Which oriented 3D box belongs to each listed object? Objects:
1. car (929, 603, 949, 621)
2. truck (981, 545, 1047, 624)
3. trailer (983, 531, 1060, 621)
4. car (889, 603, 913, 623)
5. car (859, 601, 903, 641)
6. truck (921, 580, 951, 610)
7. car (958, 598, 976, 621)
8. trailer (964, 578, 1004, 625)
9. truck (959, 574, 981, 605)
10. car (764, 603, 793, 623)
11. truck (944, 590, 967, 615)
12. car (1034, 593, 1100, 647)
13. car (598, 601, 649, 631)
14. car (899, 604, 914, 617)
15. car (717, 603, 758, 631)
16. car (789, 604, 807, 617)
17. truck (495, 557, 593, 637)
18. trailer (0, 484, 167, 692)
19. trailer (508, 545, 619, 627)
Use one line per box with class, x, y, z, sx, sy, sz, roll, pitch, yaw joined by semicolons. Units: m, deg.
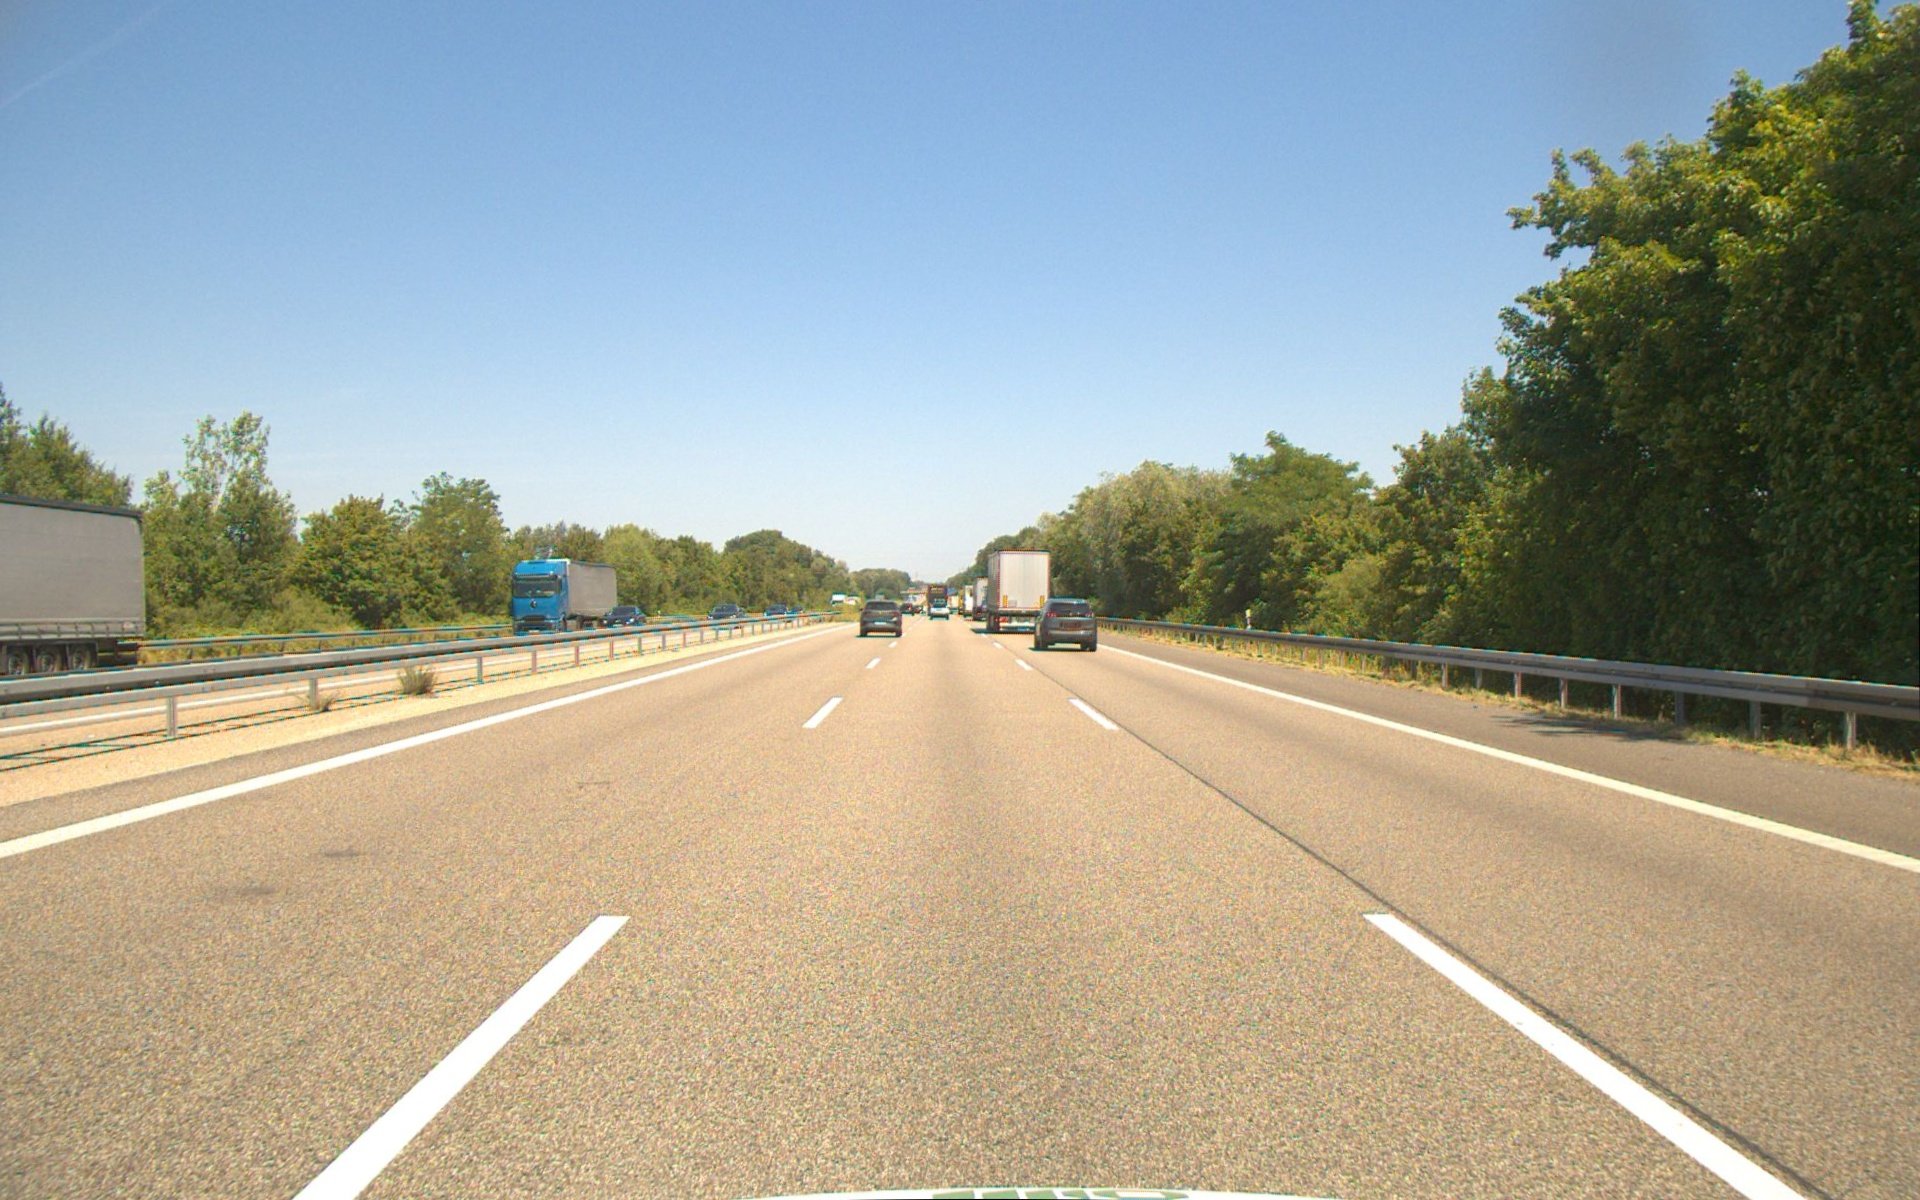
car;-1.958;1.124;153.745;1.862;1.557;4.083;1;1;-1
truck;2.979;-0.794;93.430;3.394;4.250;6.842;1;-1;-1
trailer;3.032;-1.104;85.943;3.364;4.254;13.630;1;0;0
car;-4.785;1.030;134.779;1.862;1.557;4.083;1;1;-1
car;-3.365;0.865;71.013;1.723;1.557;4.285;1;1;-1
truck;-3.091;-0.671;213.558;3.592;3.791;7.108;1;0;0
car;0.780;1.016;187.142;1.869;2.467;4.285;1;1;-1
trailer;2.068;0.066;145.966;3.059;3.995;9.933;1;1;-2
truck;1.244;-1.339;212.064;2.735;3.791;7.108;1;0;0
car;-14.115;1.008;128.716;1.812;1.419;4.741;-3;0;-2
truck;-0.676;0.406;258.522;3.417;3.791;7.108;1;0;0
car;3.412;0.605;53.371;1.807;1.657;4.134;0;0;0
car;-17.852;0.847;87.948;1.812;1.488;4.313;3;0;-1
car;-7.116;1.420;221.940;1.869;1.557;4.285;1;1;-1
car;-13.092;0.972;97.509;1.813;1.488;5.168;-3;0;-1
car;-19.941;1.272;203.708;1.825;1.426;4.530;-2;0;-1
truck;-22.068;-0.201;88.293;3.186;4.056;8.726;0;1;-1
trailer;-21.315;-0.226;34.476;3.281;4.259;13.538;-1;1;-1
trailer;-22.280;-0.828;93.912;3.230;4.259;13.538;-1;1;-1
